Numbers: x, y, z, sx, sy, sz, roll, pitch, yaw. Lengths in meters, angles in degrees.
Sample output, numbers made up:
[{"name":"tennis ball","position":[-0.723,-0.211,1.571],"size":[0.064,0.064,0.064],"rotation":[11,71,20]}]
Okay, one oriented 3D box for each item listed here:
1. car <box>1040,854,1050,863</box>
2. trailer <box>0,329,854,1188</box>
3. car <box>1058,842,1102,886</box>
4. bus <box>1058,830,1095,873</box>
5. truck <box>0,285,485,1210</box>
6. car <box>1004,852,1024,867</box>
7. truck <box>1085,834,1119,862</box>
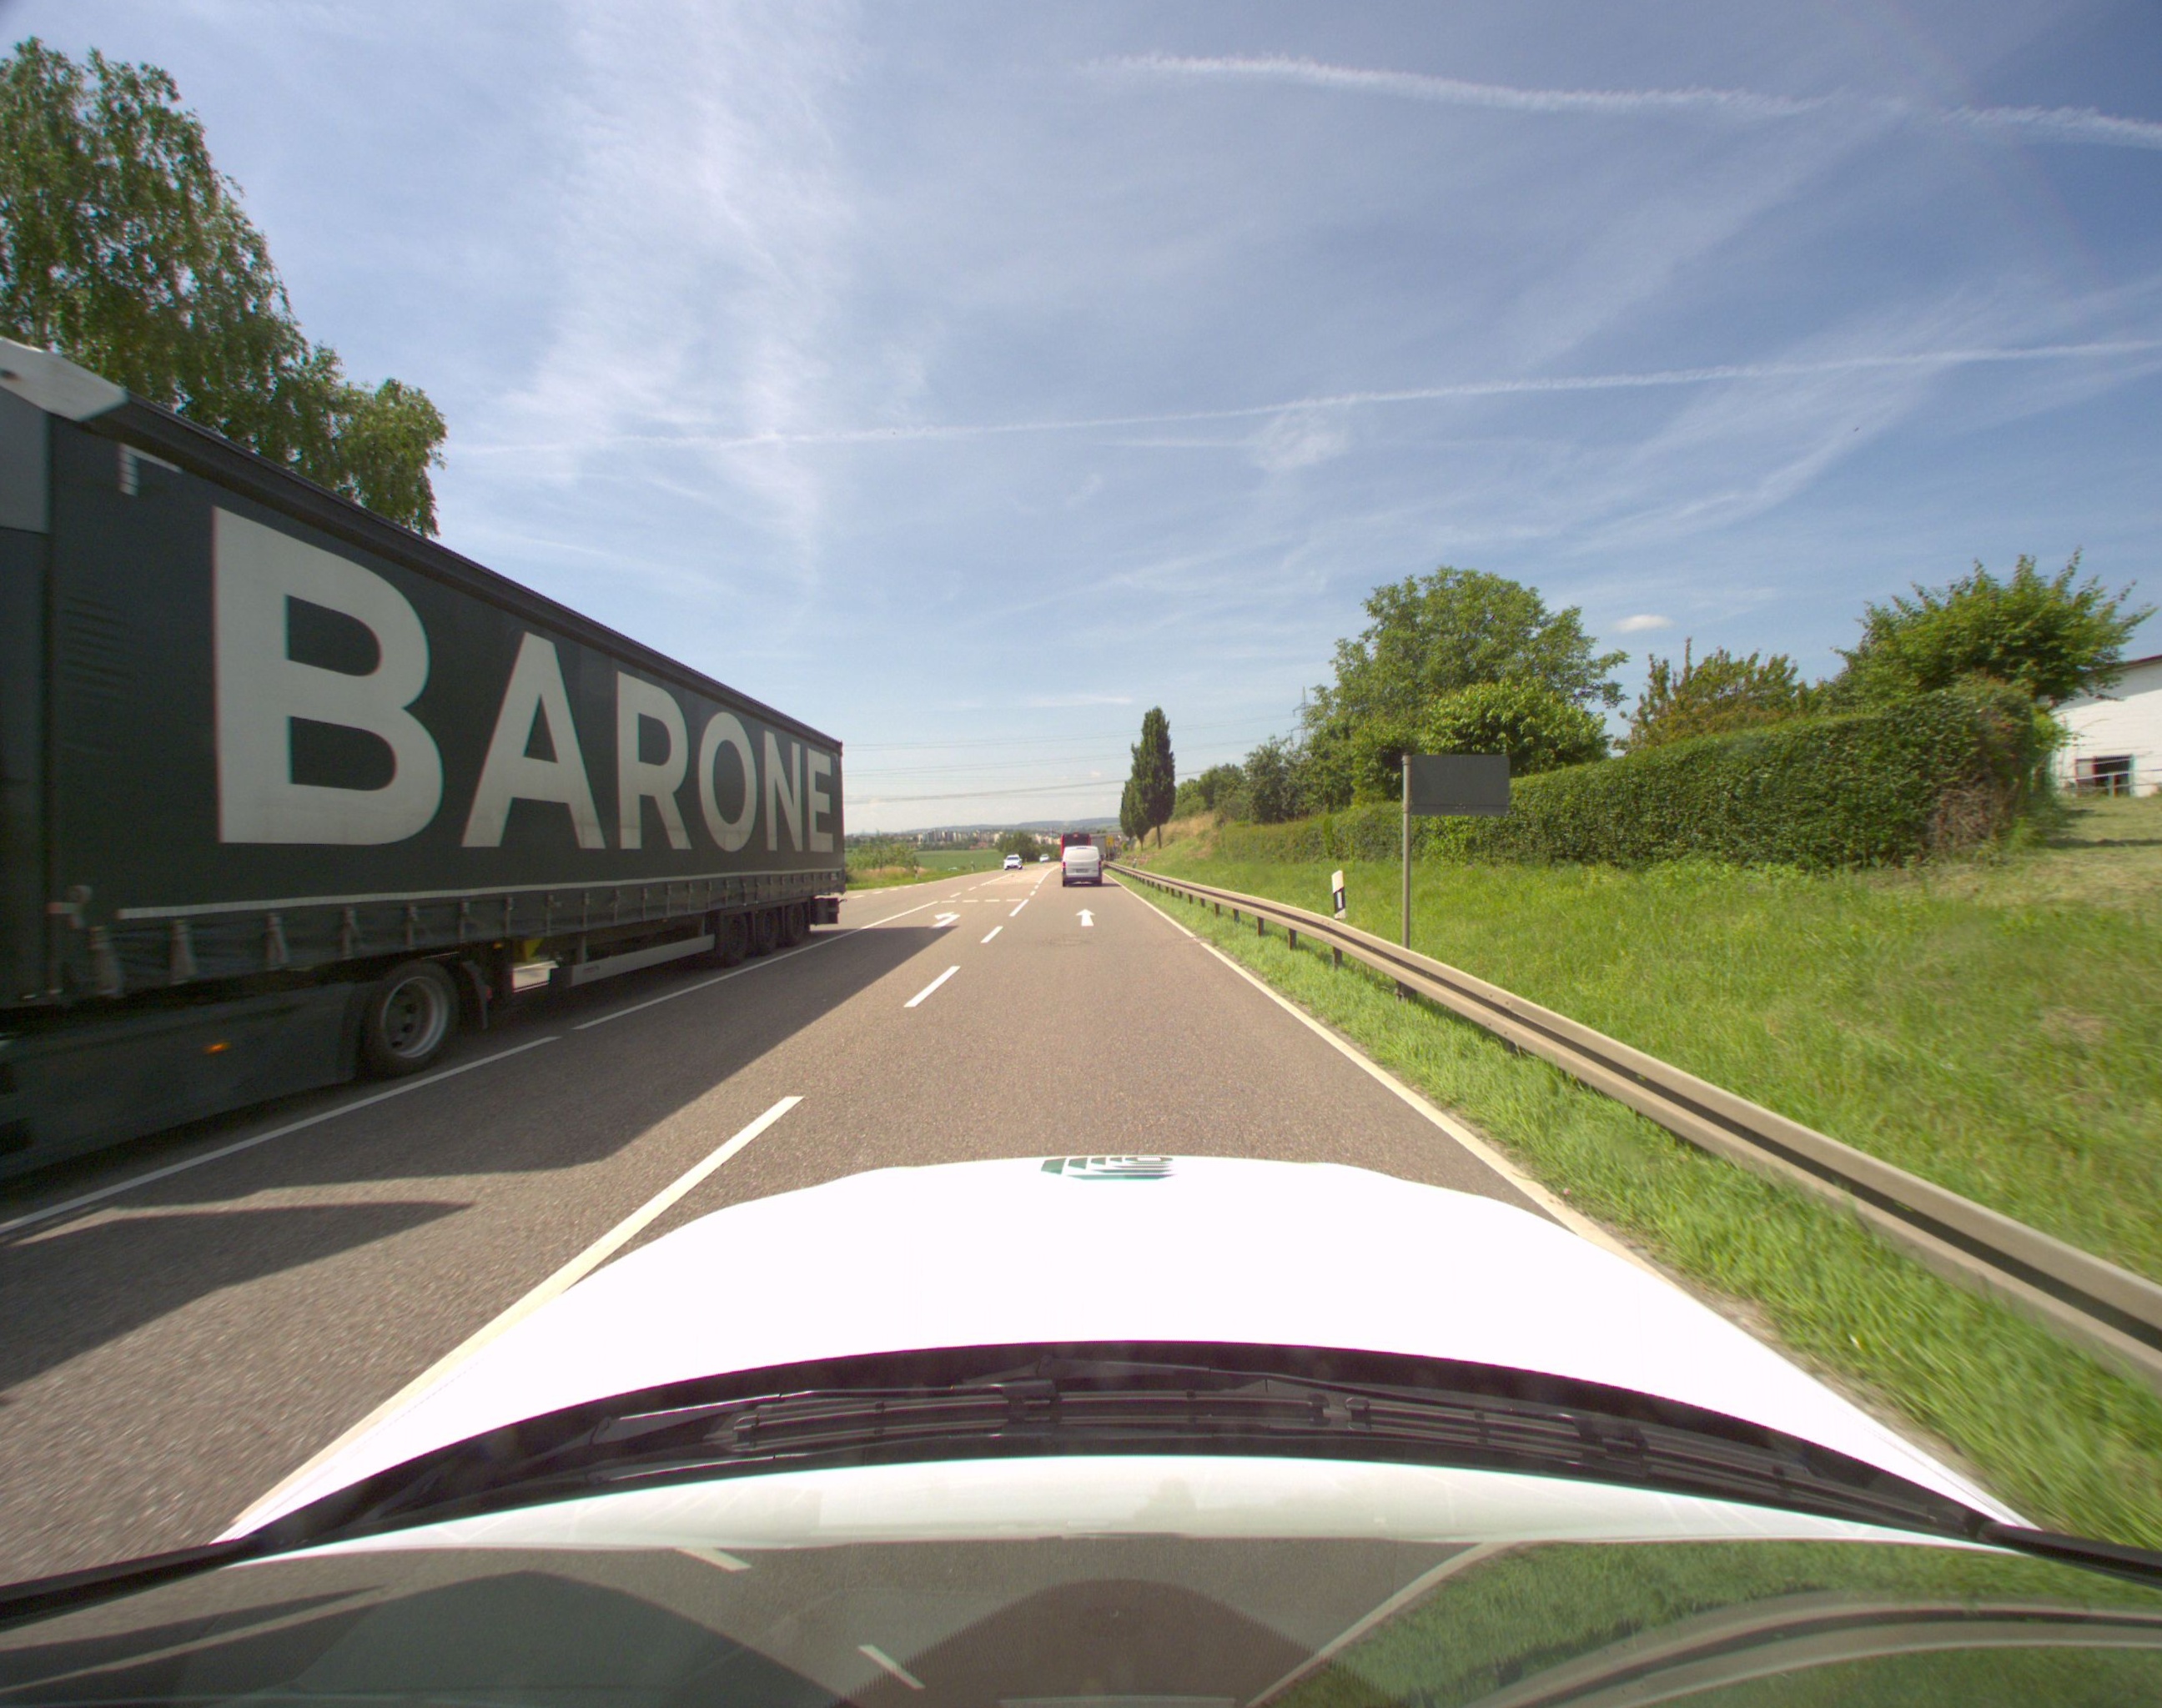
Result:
[{"name":"car","position":[-7.034,0.873,159.698],"size":[1.760,1.687,3.827],"rotation":[-3,0,1]},{"name":"trailer","position":[-6.178,-0.451,10.768],"size":[2.585,4.142,13.734],"rotation":[-2,0,-1]},{"name":"car","position":[-0.002,0.437,39.150],"size":[1.916,1.889,4.001],"rotation":[-3,1,1]},{"name":"bus","position":[-0.401,-0.422,73.474],"size":[2.739,3.352,13.220],"rotation":[-4,2,0]},{"name":"truck","position":[-6.071,-0.456,3.758],"size":[2.578,4.104,5.439],"rotation":[-2,0,-1]},{"name":"car","position":[-7.367,0.608,90.116],"size":[1.848,1.565,4.074],"rotation":[-3,0,0]},{"name":"truck","position":[3.657,-1.053,137.554],"size":[3.467,4.423,14.943],"rotation":[-2,0,10]}]
